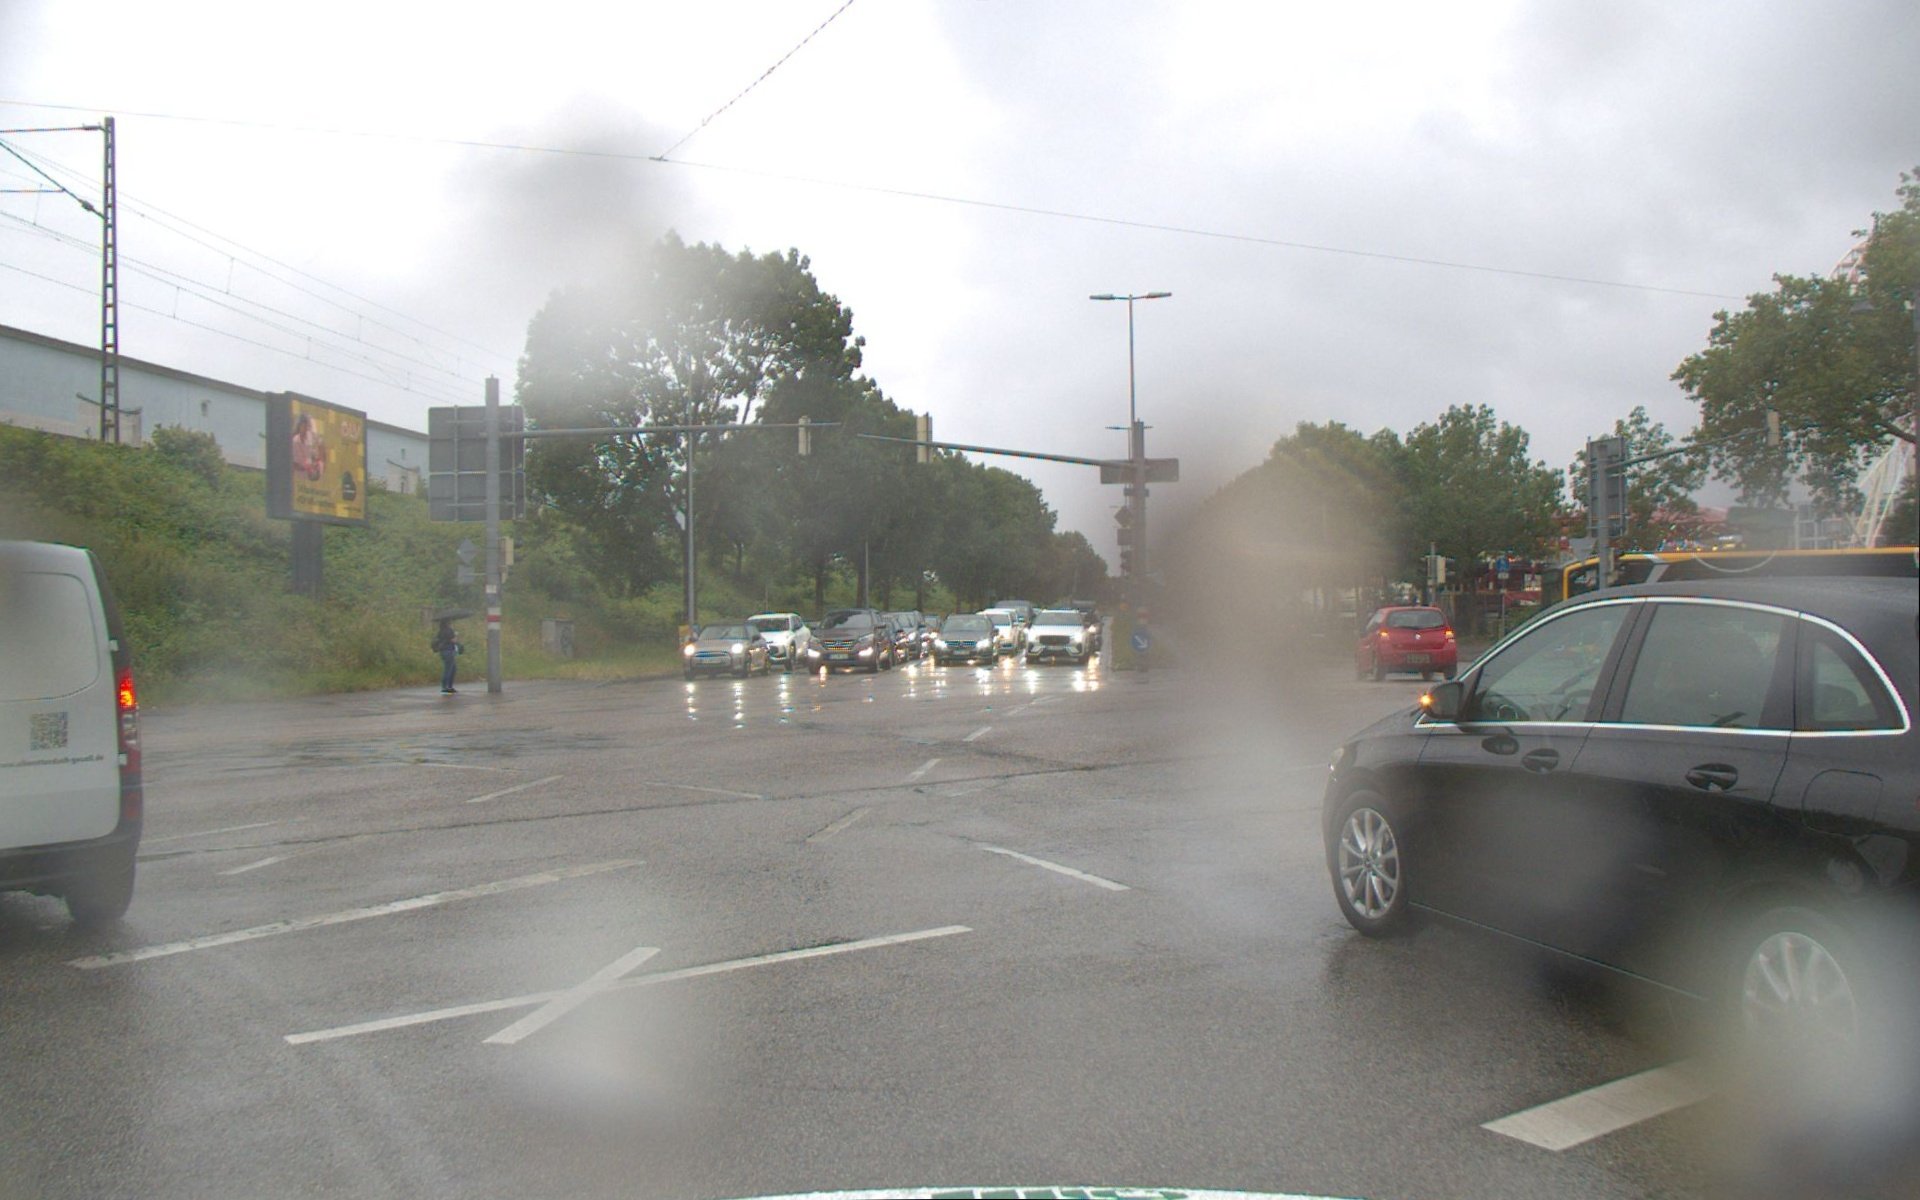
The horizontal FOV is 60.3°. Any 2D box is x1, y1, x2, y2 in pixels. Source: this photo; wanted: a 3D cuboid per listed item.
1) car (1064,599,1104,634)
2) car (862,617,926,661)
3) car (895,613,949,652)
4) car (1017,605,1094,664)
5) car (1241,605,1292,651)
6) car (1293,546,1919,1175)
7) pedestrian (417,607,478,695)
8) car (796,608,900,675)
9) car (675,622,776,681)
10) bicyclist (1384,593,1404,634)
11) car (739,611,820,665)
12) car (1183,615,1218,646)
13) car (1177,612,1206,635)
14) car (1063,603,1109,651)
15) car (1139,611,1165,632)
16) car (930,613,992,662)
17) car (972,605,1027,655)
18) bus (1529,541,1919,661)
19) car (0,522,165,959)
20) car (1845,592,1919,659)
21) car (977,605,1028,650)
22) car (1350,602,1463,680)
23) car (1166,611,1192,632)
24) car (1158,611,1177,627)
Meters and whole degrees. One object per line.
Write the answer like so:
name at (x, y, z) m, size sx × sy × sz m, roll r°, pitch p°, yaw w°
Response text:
car at (6.422, 0.855, 85.808) m, size 1.898 × 1.750 × 4.001 m, roll -1°, pitch 0°, yaw 2°
car at (-2.221, 1.304, 56.760) m, size 1.789 × 1.382 × 4.002 m, roll -1°, pitch 0°, yaw 3°
car at (-1.442, 1.240, 64.112) m, size 1.789 × 1.382 × 4.001 m, roll -1°, pitch 0°, yaw 2°
car at (3.054, 1.050, 52.137) m, size 2.123 × 1.750 × 4.306 m, roll -1°, pitch 0°, yaw 7°
car at (11.863, 1.062, 64.069) m, size 1.598 × 1.685 × 3.487 m, roll 1°, pitch 0°, yaw 5°
car at (2.894, 0.634, 6.024) m, size 1.837 × 1.550 × 4.075 m, roll -1°, pitch 0°, yaw -12°
pedestrian at (-10.327, 1.018, 33.377) m, size 0.982 × 1.749 × 0.819 m, roll -1°, pitch -1°, yaw -3°
car at (-2.994, 1.098, 45.021) m, size 1.979 × 1.686 × 4.065 m, roll -1°, pitch 0°, yaw 8°
car at (-6.084, 1.310, 43.399) m, size 1.853 × 1.373 × 4.002 m, roll -1°, pitch 0°, yaw 3°
bicyclist at (20.586, 0.658, 78.430) m, size 0.751 × 1.914 × 0.622 m, roll -2°, pitch -1°, yaw 1°
car at (-5.376, 1.104, 49.645) m, size 1.789 × 1.508 × 4.001 m, roll -1°, pitch 0°, yaw 2°
car at (13.480, 1.709, 92.998) m, size 1.803 × 1.646 × 4.003 m, roll 1°, pitch 0°, yaw 6°
car at (17.060, 1.714, 122.097) m, size 1.954 × 1.646 × 4.003 m, roll -1°, pitch 0°, yaw 6°
car at (4.808, 1.003, 63.431) m, size 1.566 × 1.750 × 4.001 m, roll -1°, pitch 0°, yaw 2°
car at (15.824, 1.761, 136.675) m, size 1.954 × 1.646 × 4.002 m, roll -1°, pitch 0°, yaw 5°
car at (0.012, 1.122, 50.755) m, size 1.790 × 1.382 × 3.999 m, roll -1°, pitch 0°, yaw -1°
car at (1.512, 1.085, 61.512) m, size 1.825 × 1.750 × 4.002 m, roll -1°, pitch 0°, yaw 4°
bus at (23.836, 0.034, 50.143) m, size 11.992 × 3.325 × 3.276 m, roll -1°, pitch -1°, yaw 4°
car at (-5.471, 0.610, 8.167) m, size 1.747 × 1.808 × 3.939 m, roll -2°, pitch 0°, yaw -42°
car at (25.586, 0.632, 43.819) m, size 4.286 × 1.680 × 1.913 m, roll -1°, pitch -1°, yaw -32°
car at (1.758, 1.095, 67.835) m, size 1.806 × 1.750 × 4.002 m, roll -1°, pitch 0°, yaw 5°
car at (9.092, 0.801, 33.933) m, size 1.643 × 1.517 × 3.623 m, roll 0°, pitch 0°, yaw 5°
car at (18.679, 1.820, 141.342) m, size 1.954 × 1.646 × 4.002 m, roll -1°, pitch 0°, yaw 5°
car at (23.061, 2.126, 183.925) m, size 1.954 × 1.646 × 4.002 m, roll -1°, pitch 0°, yaw 5°
